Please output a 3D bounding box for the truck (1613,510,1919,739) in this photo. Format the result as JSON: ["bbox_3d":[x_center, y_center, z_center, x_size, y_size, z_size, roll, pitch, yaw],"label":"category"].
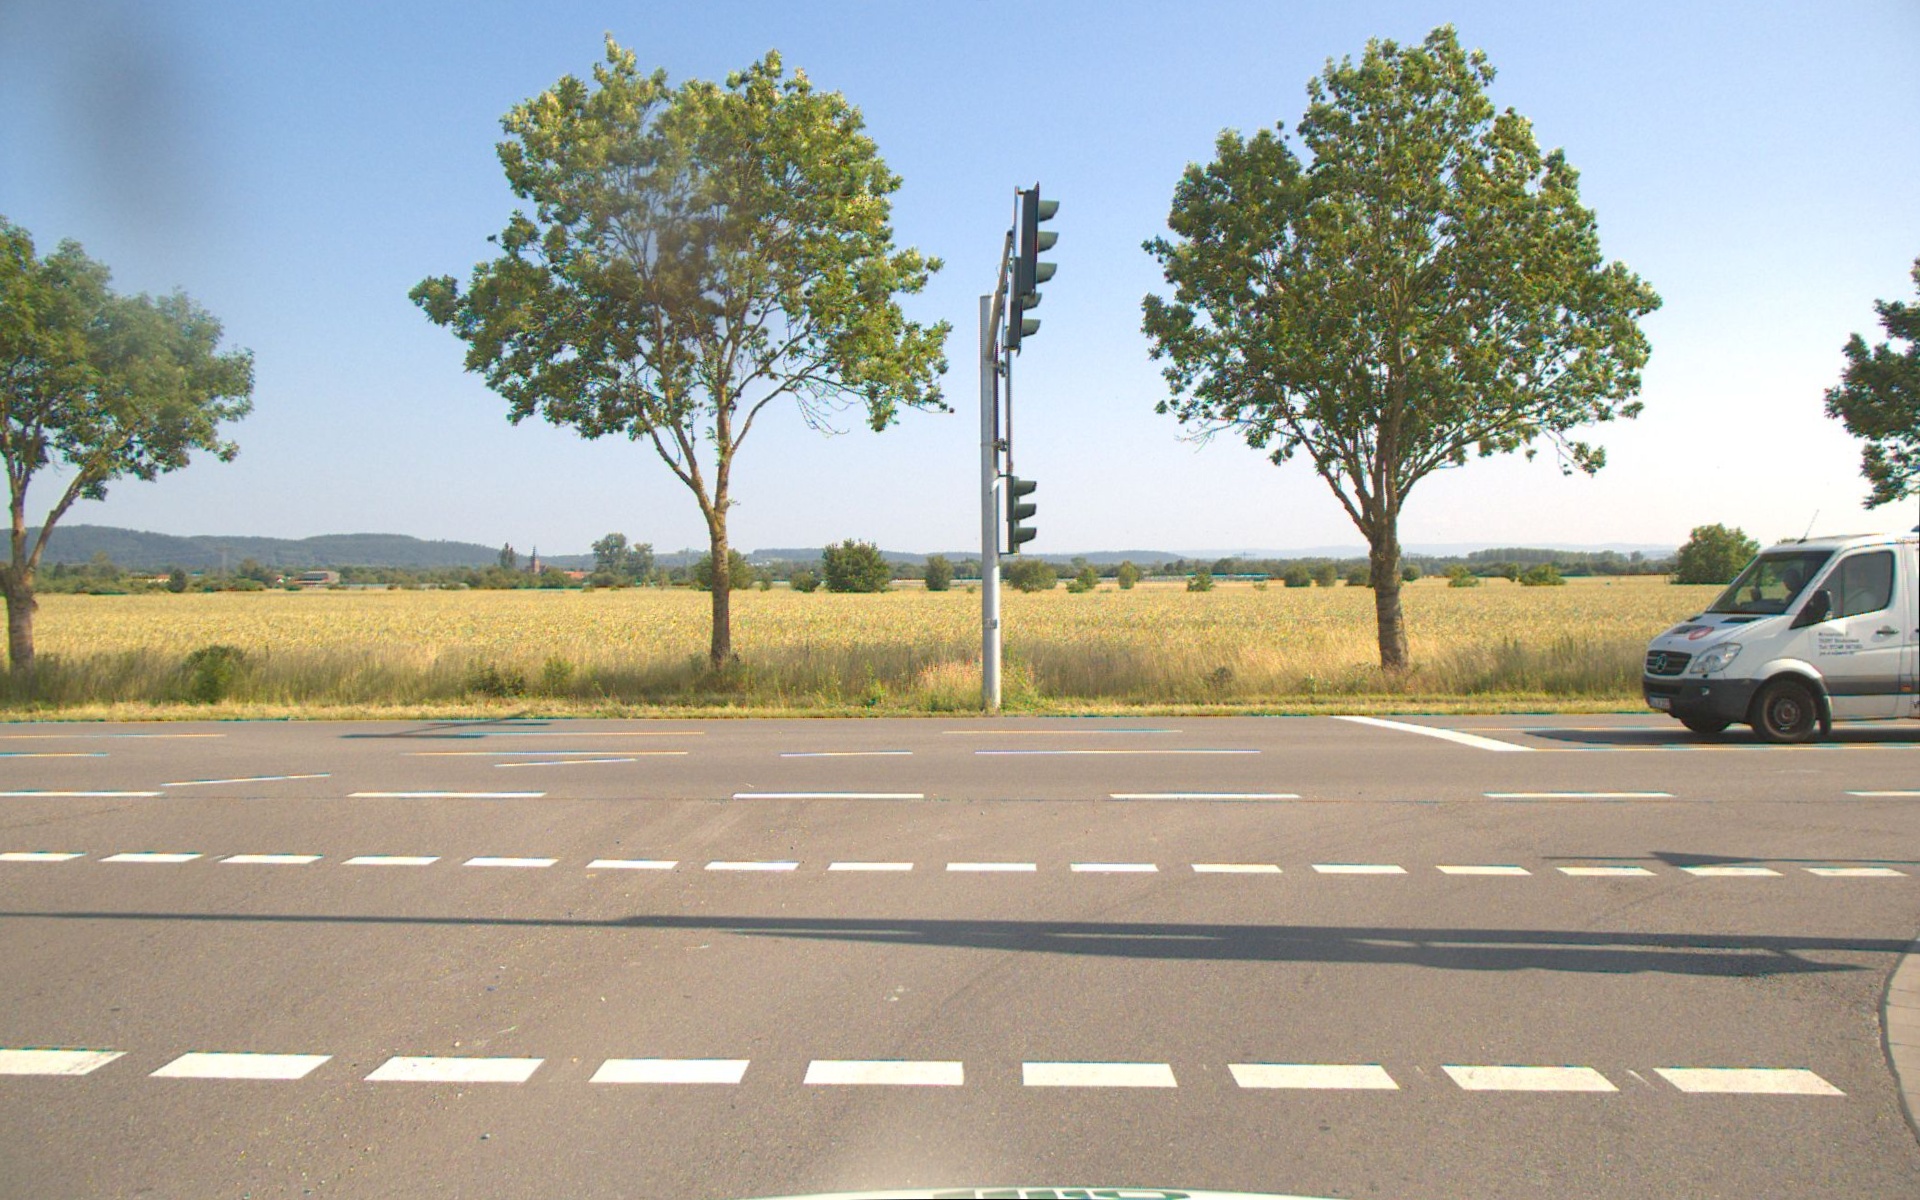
[{"bbox_3d":[10.906,0.256,18.944,6.053,2.447,2.070,0,-1,-2],"label":"truck"}]
